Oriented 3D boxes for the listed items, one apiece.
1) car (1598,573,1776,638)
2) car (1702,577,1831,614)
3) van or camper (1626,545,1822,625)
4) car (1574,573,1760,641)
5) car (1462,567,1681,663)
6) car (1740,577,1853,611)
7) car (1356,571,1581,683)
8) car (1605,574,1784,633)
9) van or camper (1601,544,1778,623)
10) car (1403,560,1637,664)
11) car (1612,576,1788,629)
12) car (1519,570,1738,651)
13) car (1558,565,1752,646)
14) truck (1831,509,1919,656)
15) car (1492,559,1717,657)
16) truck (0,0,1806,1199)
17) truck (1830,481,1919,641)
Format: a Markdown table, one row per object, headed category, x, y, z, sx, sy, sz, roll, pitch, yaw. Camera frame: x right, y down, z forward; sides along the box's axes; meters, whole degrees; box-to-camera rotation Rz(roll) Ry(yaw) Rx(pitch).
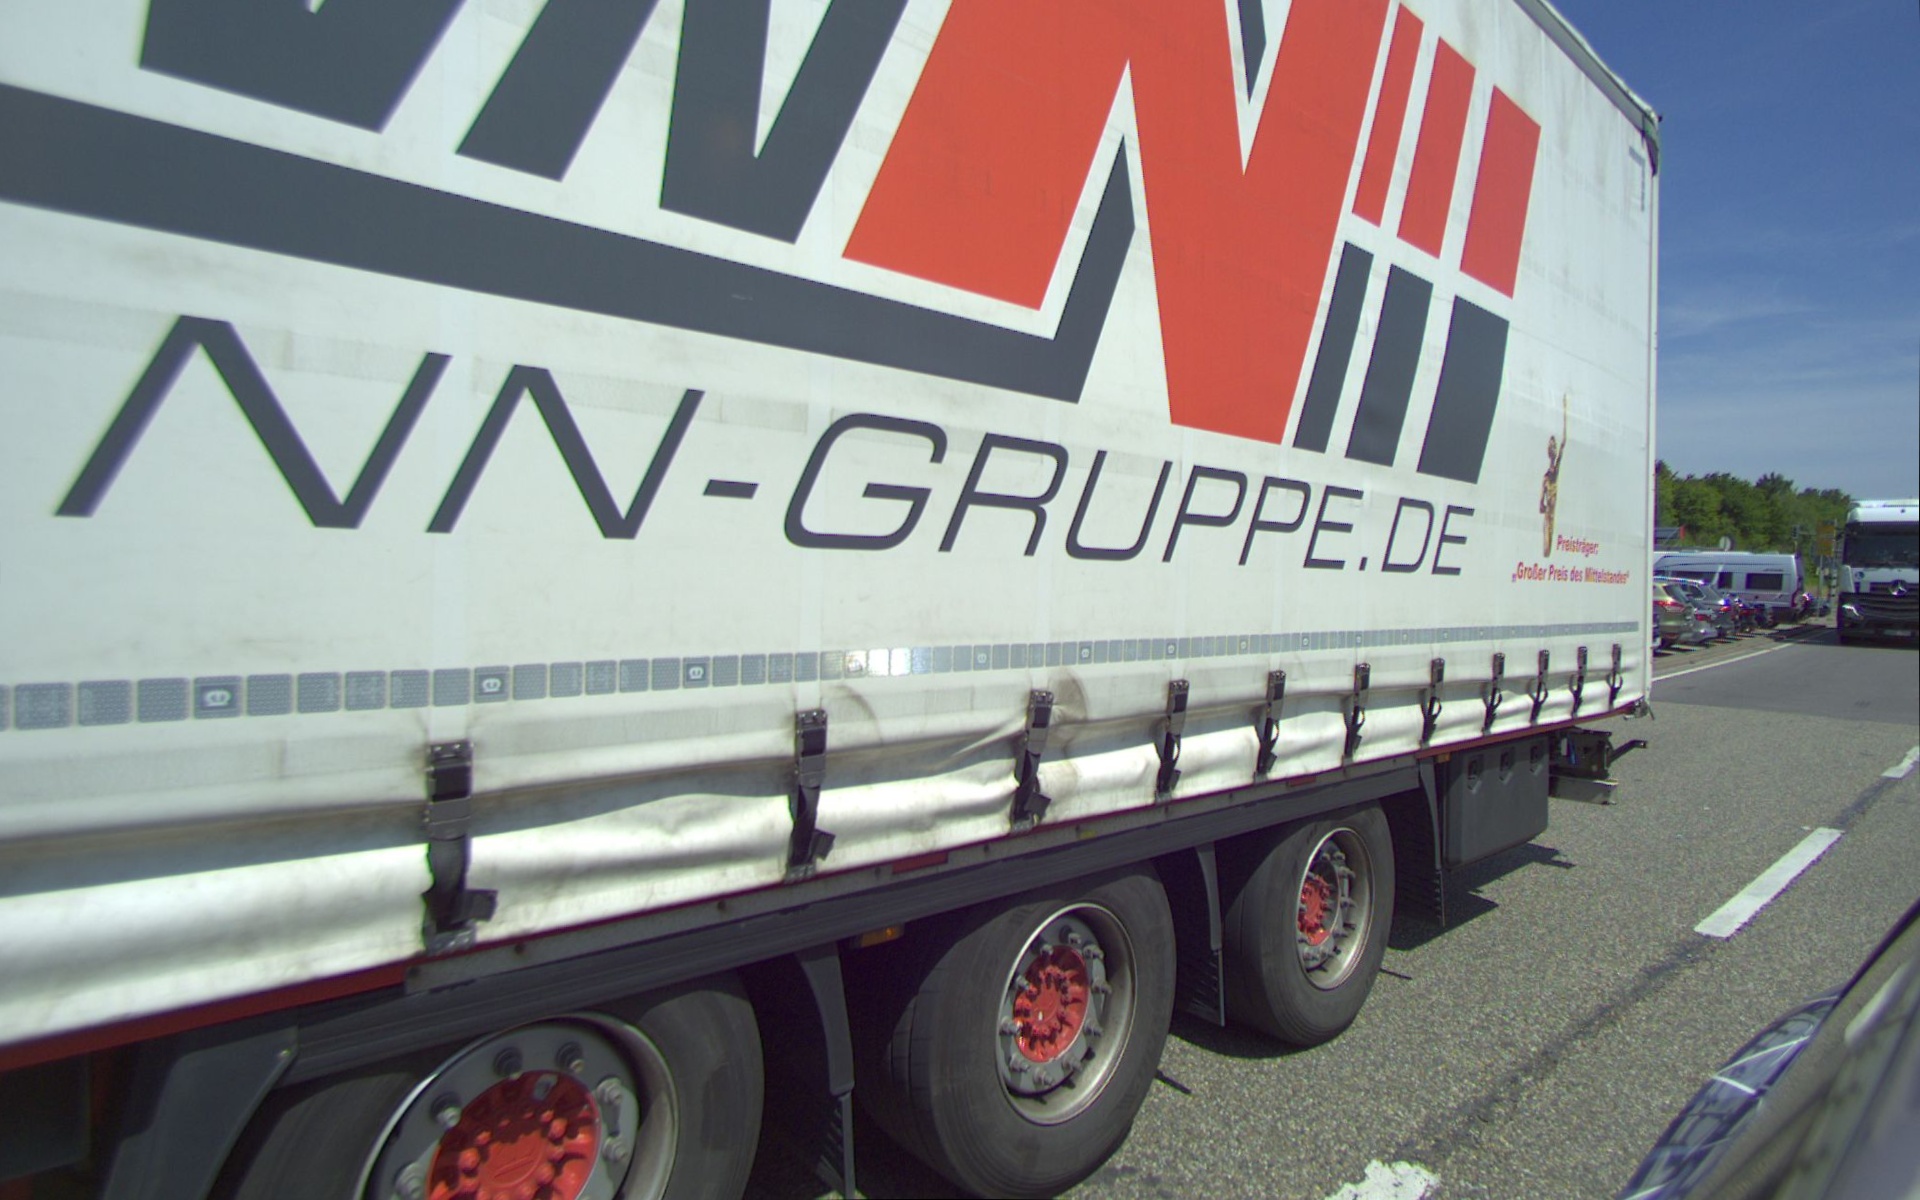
| category | x | y | z | sx | sy | sz | roll | pitch | yaw |
| --- | --- | --- | --- | --- | --- | --- | --- | --- | --- |
| car | 21.546 | 0.096 | 30.088 | 4.013 | 1.499 | 1.948 | 7 | 6 | 43 |
| car | 35.619 | -0.235 | 44.769 | 4.325 | 1.518 | 2.049 | 2 | 2 | 43 |
| van or camper | 28.413 | -0.639 | 37.797 | 2.194 | 2.763 | 5.483 | 0 | 2 | -43 |
| car | 19.971 | 0.130 | 28.698 | 4.013 | 1.499 | 1.948 | 7 | 6 | 43 |
| car | 12.854 | 0.232 | 21.381 | 3.530 | 1.495 | 1.804 | 10 | 7 | 43 |
| car | 44.898 | -0.362 | 54.479 | 1.891 | 1.403 | 4.939 | 2 | 5 | 0 |
| car | 8.505 | 0.341 | 16.797 | 3.933 | 1.450 | 1.998 | -1 | 7 | -43 |
| car | 23.144 | 0.045 | 31.968 | 4.267 | 1.429 | 2.130 | 8 | 6 | 43 |
| van or camper | 29.139 | -0.713 | 40.581 | 2.194 | 2.941 | 5.376 | 0 | 2 | -43 |
| car | 10.822 | 0.160 | 19.682 | 3.530 | 1.495 | 1.804 | 10 | 7 | 43 |
| car | 24.876 | 0.027 | 34.132 | 1.753 | 1.537 | 4.520 | -1 | 3 | -43 |
| car | 16.293 | 0.182 | 24.798 | 4.139 | 1.438 | 1.765 | 9 | 7 | 43 |
| car | 18.303 | 0.059 | 26.931 | 3.995 | 1.694 | 2.177 | 6 | 5 | 32 |
| truck | 31.035 | -0.600 | 33.465 | 2.973 | 4.058 | 13.911 | 5 | 4 | 41 |
| car | 14.589 | 0.106 | 23.055 | 1.911 | 1.711 | 3.862 | 0 | 7 | -43 |
| truck | -2.930 | -0.774 | 1.088 | 17.323 | 4.145 | 2.979 | -1 | 1 | -40 |
| truck | 26.242 | -1.037 | 28.003 | 2.973 | 4.058 | 6.232 | 5 | 4 | 42 |
